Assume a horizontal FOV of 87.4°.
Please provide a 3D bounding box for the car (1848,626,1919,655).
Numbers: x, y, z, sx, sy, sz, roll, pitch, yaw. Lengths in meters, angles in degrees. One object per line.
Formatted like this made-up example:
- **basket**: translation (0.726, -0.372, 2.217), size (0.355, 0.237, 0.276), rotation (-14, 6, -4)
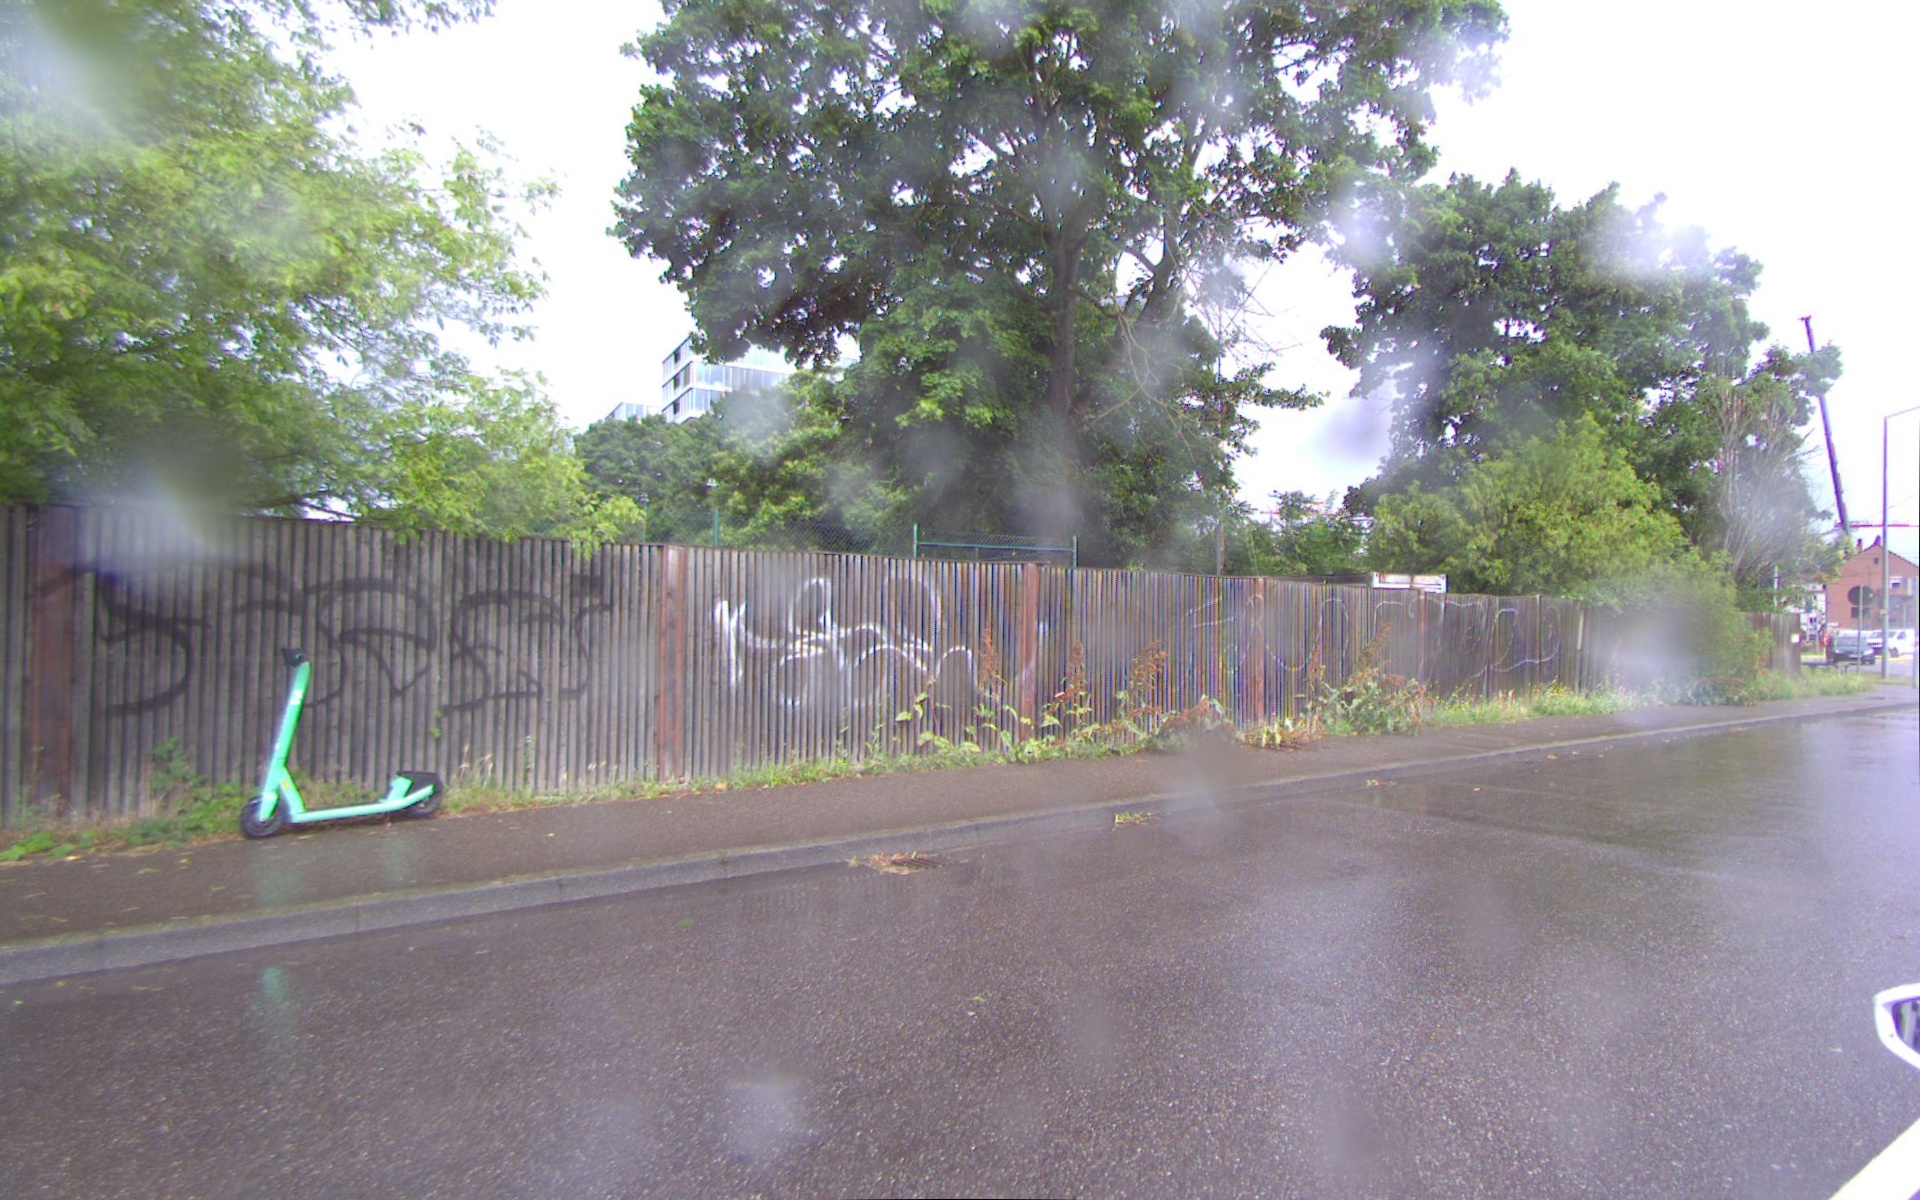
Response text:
- **car**: translation (62.816, 2.741, 67.671), size (5.042, 1.901, 1.890), rotation (1, -1, -12)

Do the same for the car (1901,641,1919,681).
- **car**: translation (38.052, 2.315, 38.404), size (1.754, 1.572, 4.422), rotation (-2, -4, 26)

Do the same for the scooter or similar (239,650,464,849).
- **scooter or similar**: translation (-4.013, 0.929, 6.652), size (1.197, 1.178, 0.558), rotation (2, -1, -38)

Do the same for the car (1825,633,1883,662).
- **car**: translation (48.908, 2.582, 55.023), size (1.849, 1.502, 4.166), rotation (0, -2, 35)
